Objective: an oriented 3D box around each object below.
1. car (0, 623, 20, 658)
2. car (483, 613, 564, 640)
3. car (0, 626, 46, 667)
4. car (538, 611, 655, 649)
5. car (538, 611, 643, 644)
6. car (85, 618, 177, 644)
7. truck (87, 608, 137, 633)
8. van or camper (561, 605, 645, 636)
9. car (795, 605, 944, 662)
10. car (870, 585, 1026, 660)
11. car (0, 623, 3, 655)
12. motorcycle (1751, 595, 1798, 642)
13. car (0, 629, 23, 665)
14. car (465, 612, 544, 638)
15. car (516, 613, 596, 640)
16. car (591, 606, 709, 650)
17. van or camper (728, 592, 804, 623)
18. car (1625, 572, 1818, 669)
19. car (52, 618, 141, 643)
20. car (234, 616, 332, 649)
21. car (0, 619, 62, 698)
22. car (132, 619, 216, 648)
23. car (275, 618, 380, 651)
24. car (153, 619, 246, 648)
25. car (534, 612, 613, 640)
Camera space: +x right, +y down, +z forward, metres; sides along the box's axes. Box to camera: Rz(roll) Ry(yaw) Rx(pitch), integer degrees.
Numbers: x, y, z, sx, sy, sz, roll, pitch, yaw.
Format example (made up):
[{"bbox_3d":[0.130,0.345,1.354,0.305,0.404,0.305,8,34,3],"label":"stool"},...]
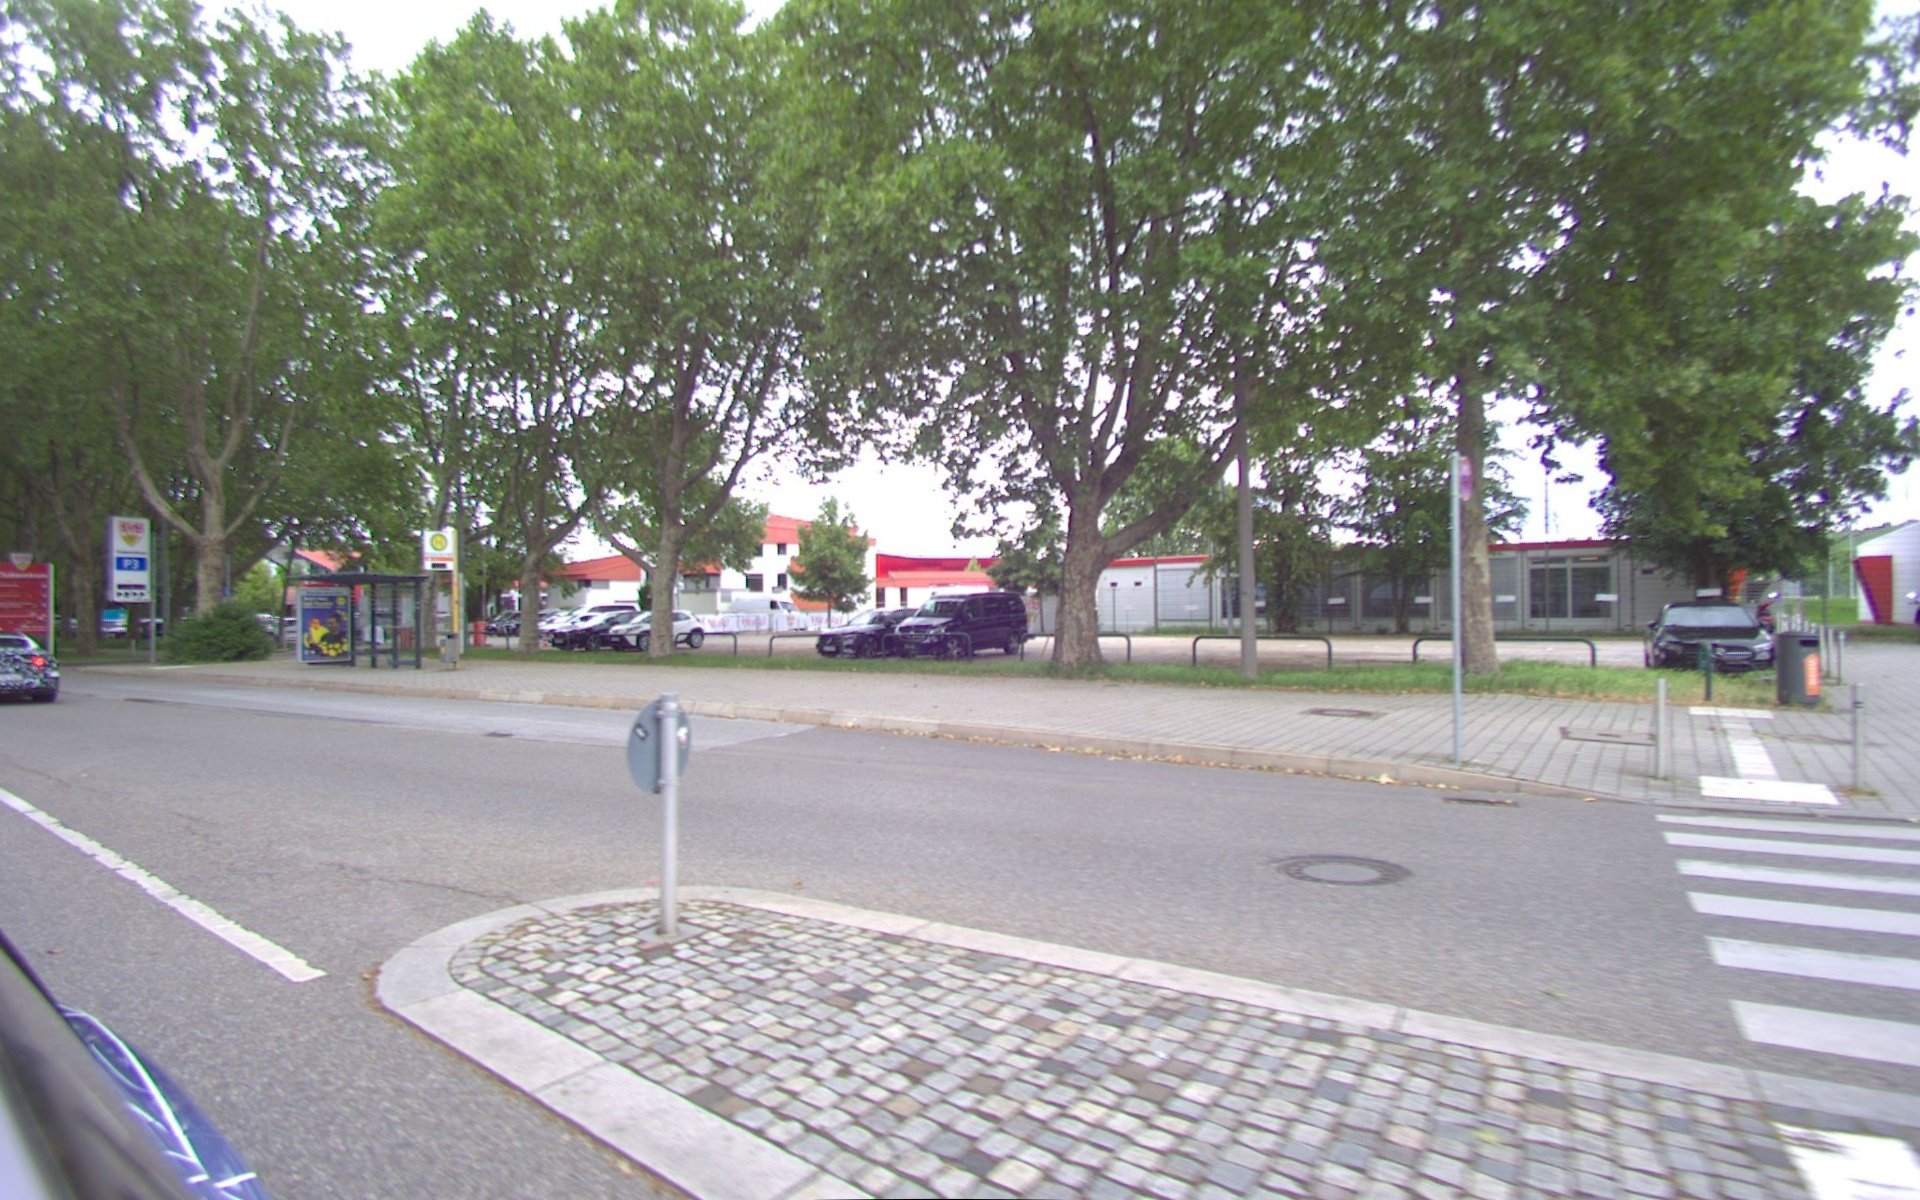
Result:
[{"bbox_3d":[-40.708,1.676,40.765,1.910,1.395,3.954,-1,0,39],"label":"car"},{"bbox_3d":[-27.516,1.646,63.893,1.955,1.560,4.283,-1,0,35],"label":"car"},{"bbox_3d":[-38.579,1.844,39.597,1.802,1.552,3.956,-1,0,37],"label":"car"},{"bbox_3d":[-14.353,1.164,40.157,1.997,1.334,3.952,-1,0,35],"label":"car"},{"bbox_3d":[-19.340,1.429,52.989,4.892,1.564,2.107,-1,0,-27],"label":"car"},{"bbox_3d":[-61.056,2.274,74.612,2.177,1.810,4.901,-2,-1,33],"label":"car"},{"bbox_3d":[-97.396,2.296,116.280,2.371,2.737,3.953,-1,0,35],"label":"truck"},{"bbox_3d":[-21.228,1.217,60.256,2.127,1.722,4.283,-1,0,35],"label":"van or camper"},{"bbox_3d":[-2.739,0.975,31.711,2.106,1.579,4.581,0,1,38],"label":"car"},{"bbox_3d":[-0.276,0.612,30.080,2.260,2.041,4.572,-1,0,38],"label":"car"},{"bbox_3d":[-44.473,1.769,43.952,1.858,1.416,3.952,-1,0,36],"label":"car"},{"bbox_3d":[22.729,0.486,28.212,0.773,1.231,3.621,-1,0,42],"label":"motorcycle"},{"bbox_3d":[-42.411,2.030,42.714,1.829,1.505,3.958,-1,0,36],"label":"car"},{"bbox_3d":[-29.338,1.606,65.333,1.955,1.560,4.283,-1,0,35],"label":"car"},{"bbox_3d":[-25.093,1.640,62.933,1.955,1.560,4.283,-1,0,35],"label":"car"},{"bbox_3d":[-11.866,1.047,38.945,1.998,1.534,3.951,-1,0,36],"label":"car"},{"bbox_3d":[-13.312,0.515,69.320,5.291,2.029,1.976,-1,0,36],"label":"van or camper"},{"bbox_3d":[14.202,0.380,19.164,2.221,1.617,3.963,-1,-1,27],"label":"car"},{"bbox_3d":[-67.402,2.354,79.050,2.177,1.810,4.901,-1,0,33],"label":"car"},{"bbox_3d":[-39.230,1.856,58.714,2.127,1.722,4.283,-1,0,35],"label":"car"},{"bbox_3d":[-19.791,1.151,20.074,4.803,1.464,1.884,-2,-3,35],"label":"car"},{"bbox_3d":[-54.860,2.307,70.686,2.024,1.875,4.283,-1,0,35],"label":"car"},{"bbox_3d":[-33.678,1.806,53.988,2.199,1.560,4.283,-1,0,35],"label":"car"},{"bbox_3d":[-50.670,2.190,67.519,2.291,1.738,4.512,-1,0,35],"label":"car"},{"bbox_3d":[-23.388,1.558,61.359,1.785,1.560,4.182,-1,0,34],"label":"car"}]
